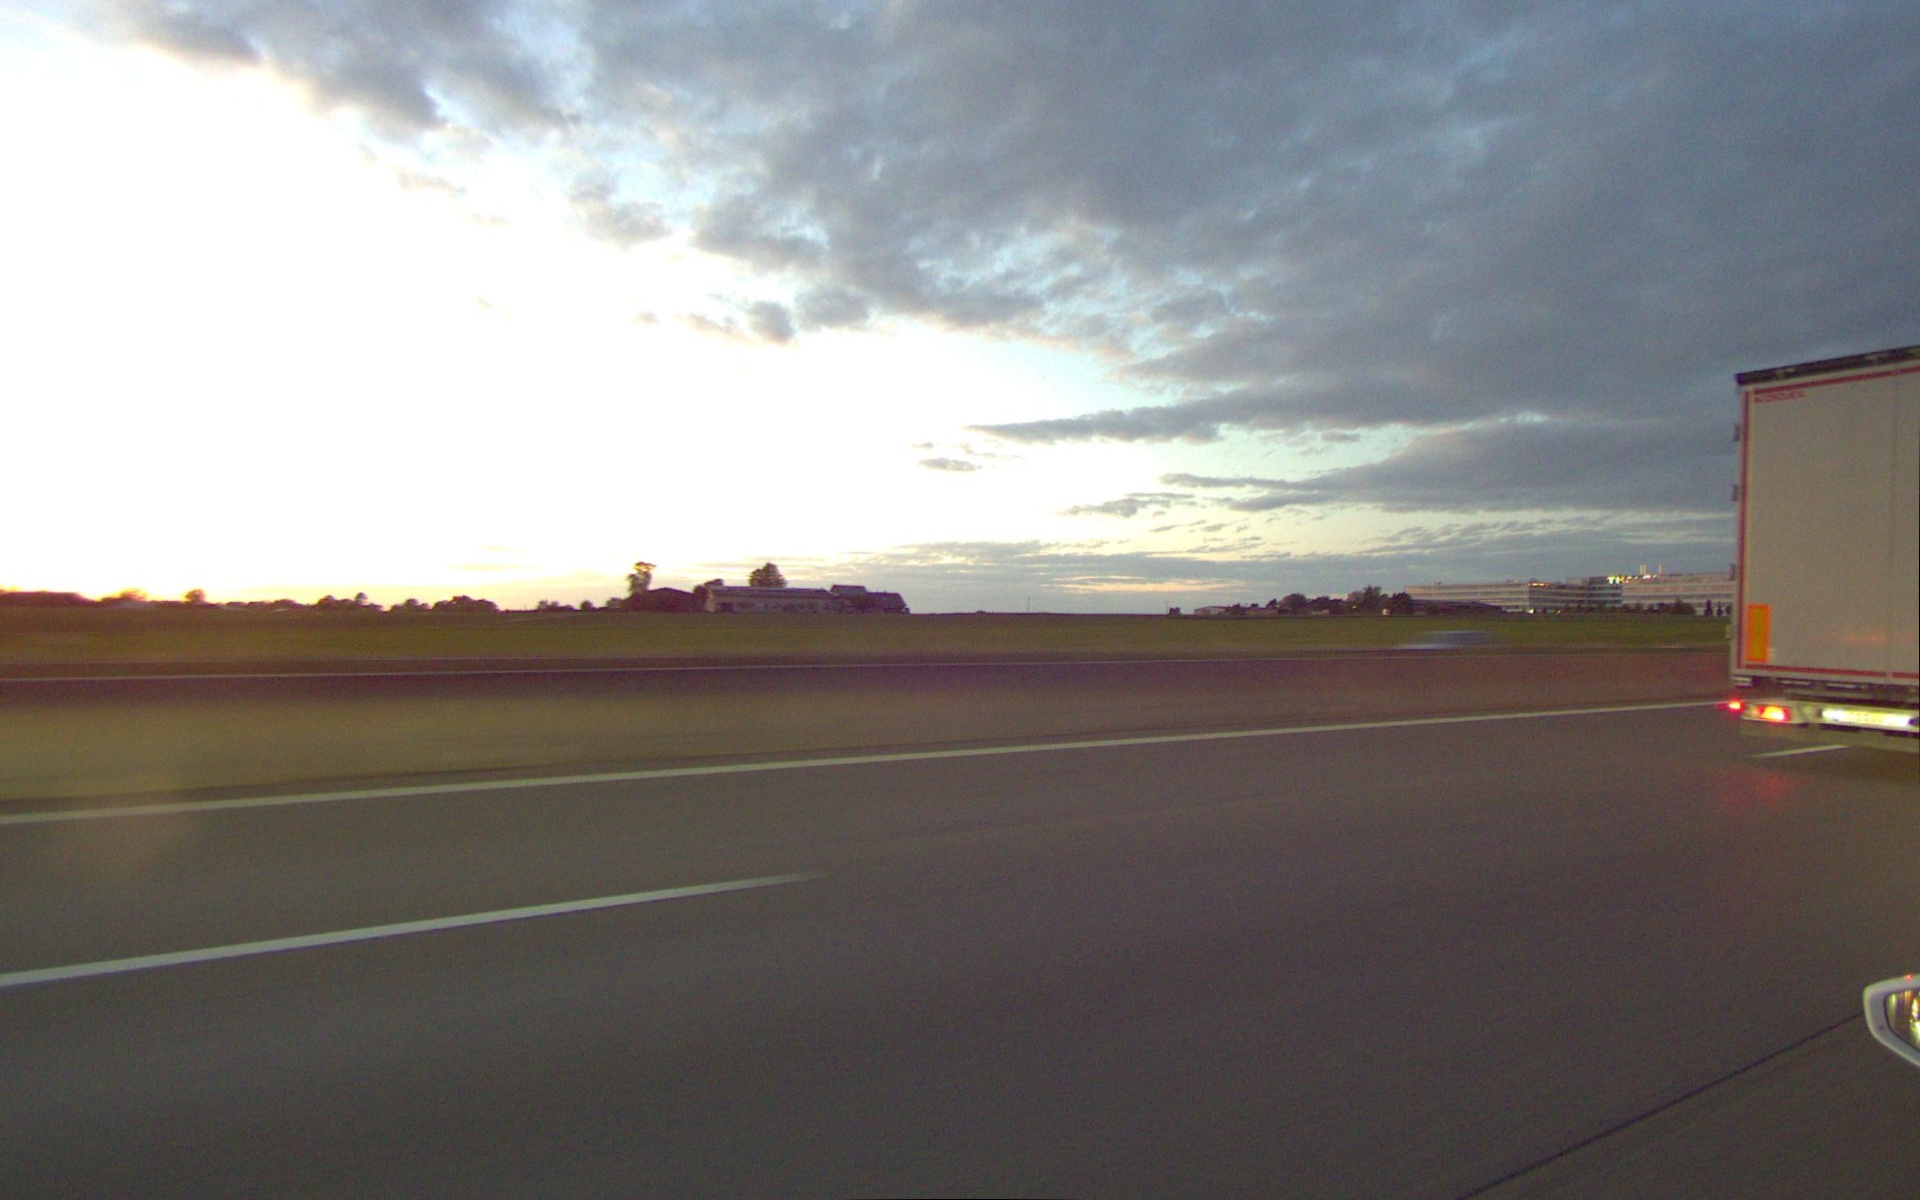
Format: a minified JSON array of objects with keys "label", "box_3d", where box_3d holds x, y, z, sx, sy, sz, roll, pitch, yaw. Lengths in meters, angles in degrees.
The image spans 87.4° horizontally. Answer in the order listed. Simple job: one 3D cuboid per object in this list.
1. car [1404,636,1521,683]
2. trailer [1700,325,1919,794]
[{"label":"car","box_3d":[18.501,2.173,36.935,4.467,1.555,1.650,2,0,-30]},{"label":"trailer","box_3d":[14.568,-0.146,12.664,14.349,4.139,2.782,2,-1,-29]}]
